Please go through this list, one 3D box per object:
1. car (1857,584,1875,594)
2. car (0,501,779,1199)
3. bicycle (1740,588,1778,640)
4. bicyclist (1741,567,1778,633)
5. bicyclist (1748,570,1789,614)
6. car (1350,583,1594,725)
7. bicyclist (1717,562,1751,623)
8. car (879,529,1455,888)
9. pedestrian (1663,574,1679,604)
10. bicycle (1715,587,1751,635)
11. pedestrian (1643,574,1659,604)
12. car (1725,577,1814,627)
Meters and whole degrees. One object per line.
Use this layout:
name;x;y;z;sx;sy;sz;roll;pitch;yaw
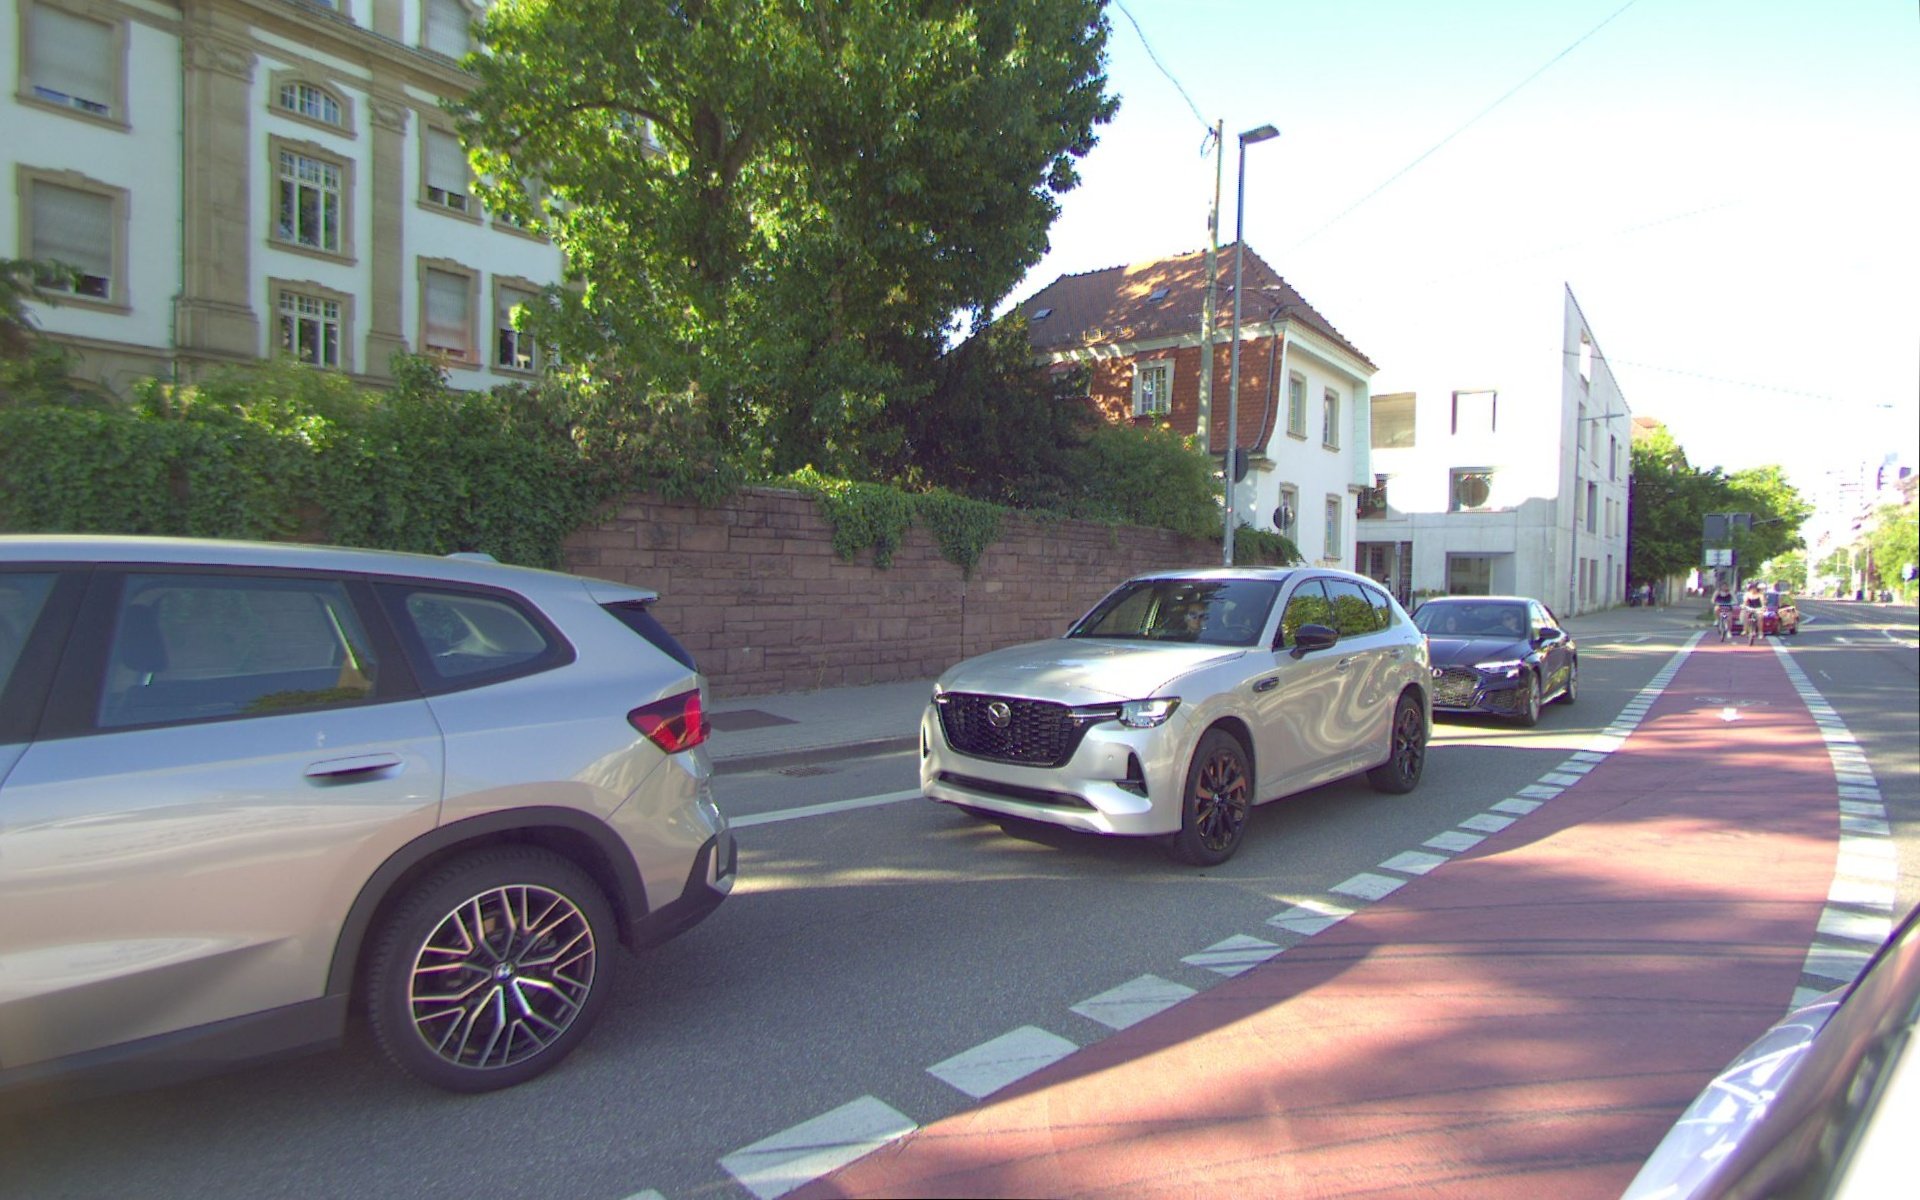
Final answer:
car;138.730;-1.680;154.977;1.640;1.580;3.602;0;0;36
car;-2.853;0.577;2.937;4.248;1.614;1.792;0;0;-36
bicycle;20.975;0.337;26.550;0.673;1.265;2.421;2;2;40
bicyclist;20.917;-0.005;26.467;0.673;1.667;1.014;2;2;40
bicyclist;31.922;-0.321;39.958;1.010;1.667;0.675;1;1;2
car;6.391;0.526;12.417;1.782;1.451;3.941;0;1;41
bicyclist;21.789;-0.231;28.480;0.673;1.667;1.014;2;2;40
car;1.729;0.493;7.145;1.940;1.713;4.460;0;1;44
pedestrian;39.775;-0.618;56.625;0.673;1.668;0.806;1;1;40
bicycle;21.807;0.276;28.531;0.673;1.265;2.421;2;2;40
pedestrian;39.094;-0.620;57.238;0.673;1.668;0.806;1;1;40
car;26.994;0.031;33.722;3.585;1.580;1.648;-1;0;-40
